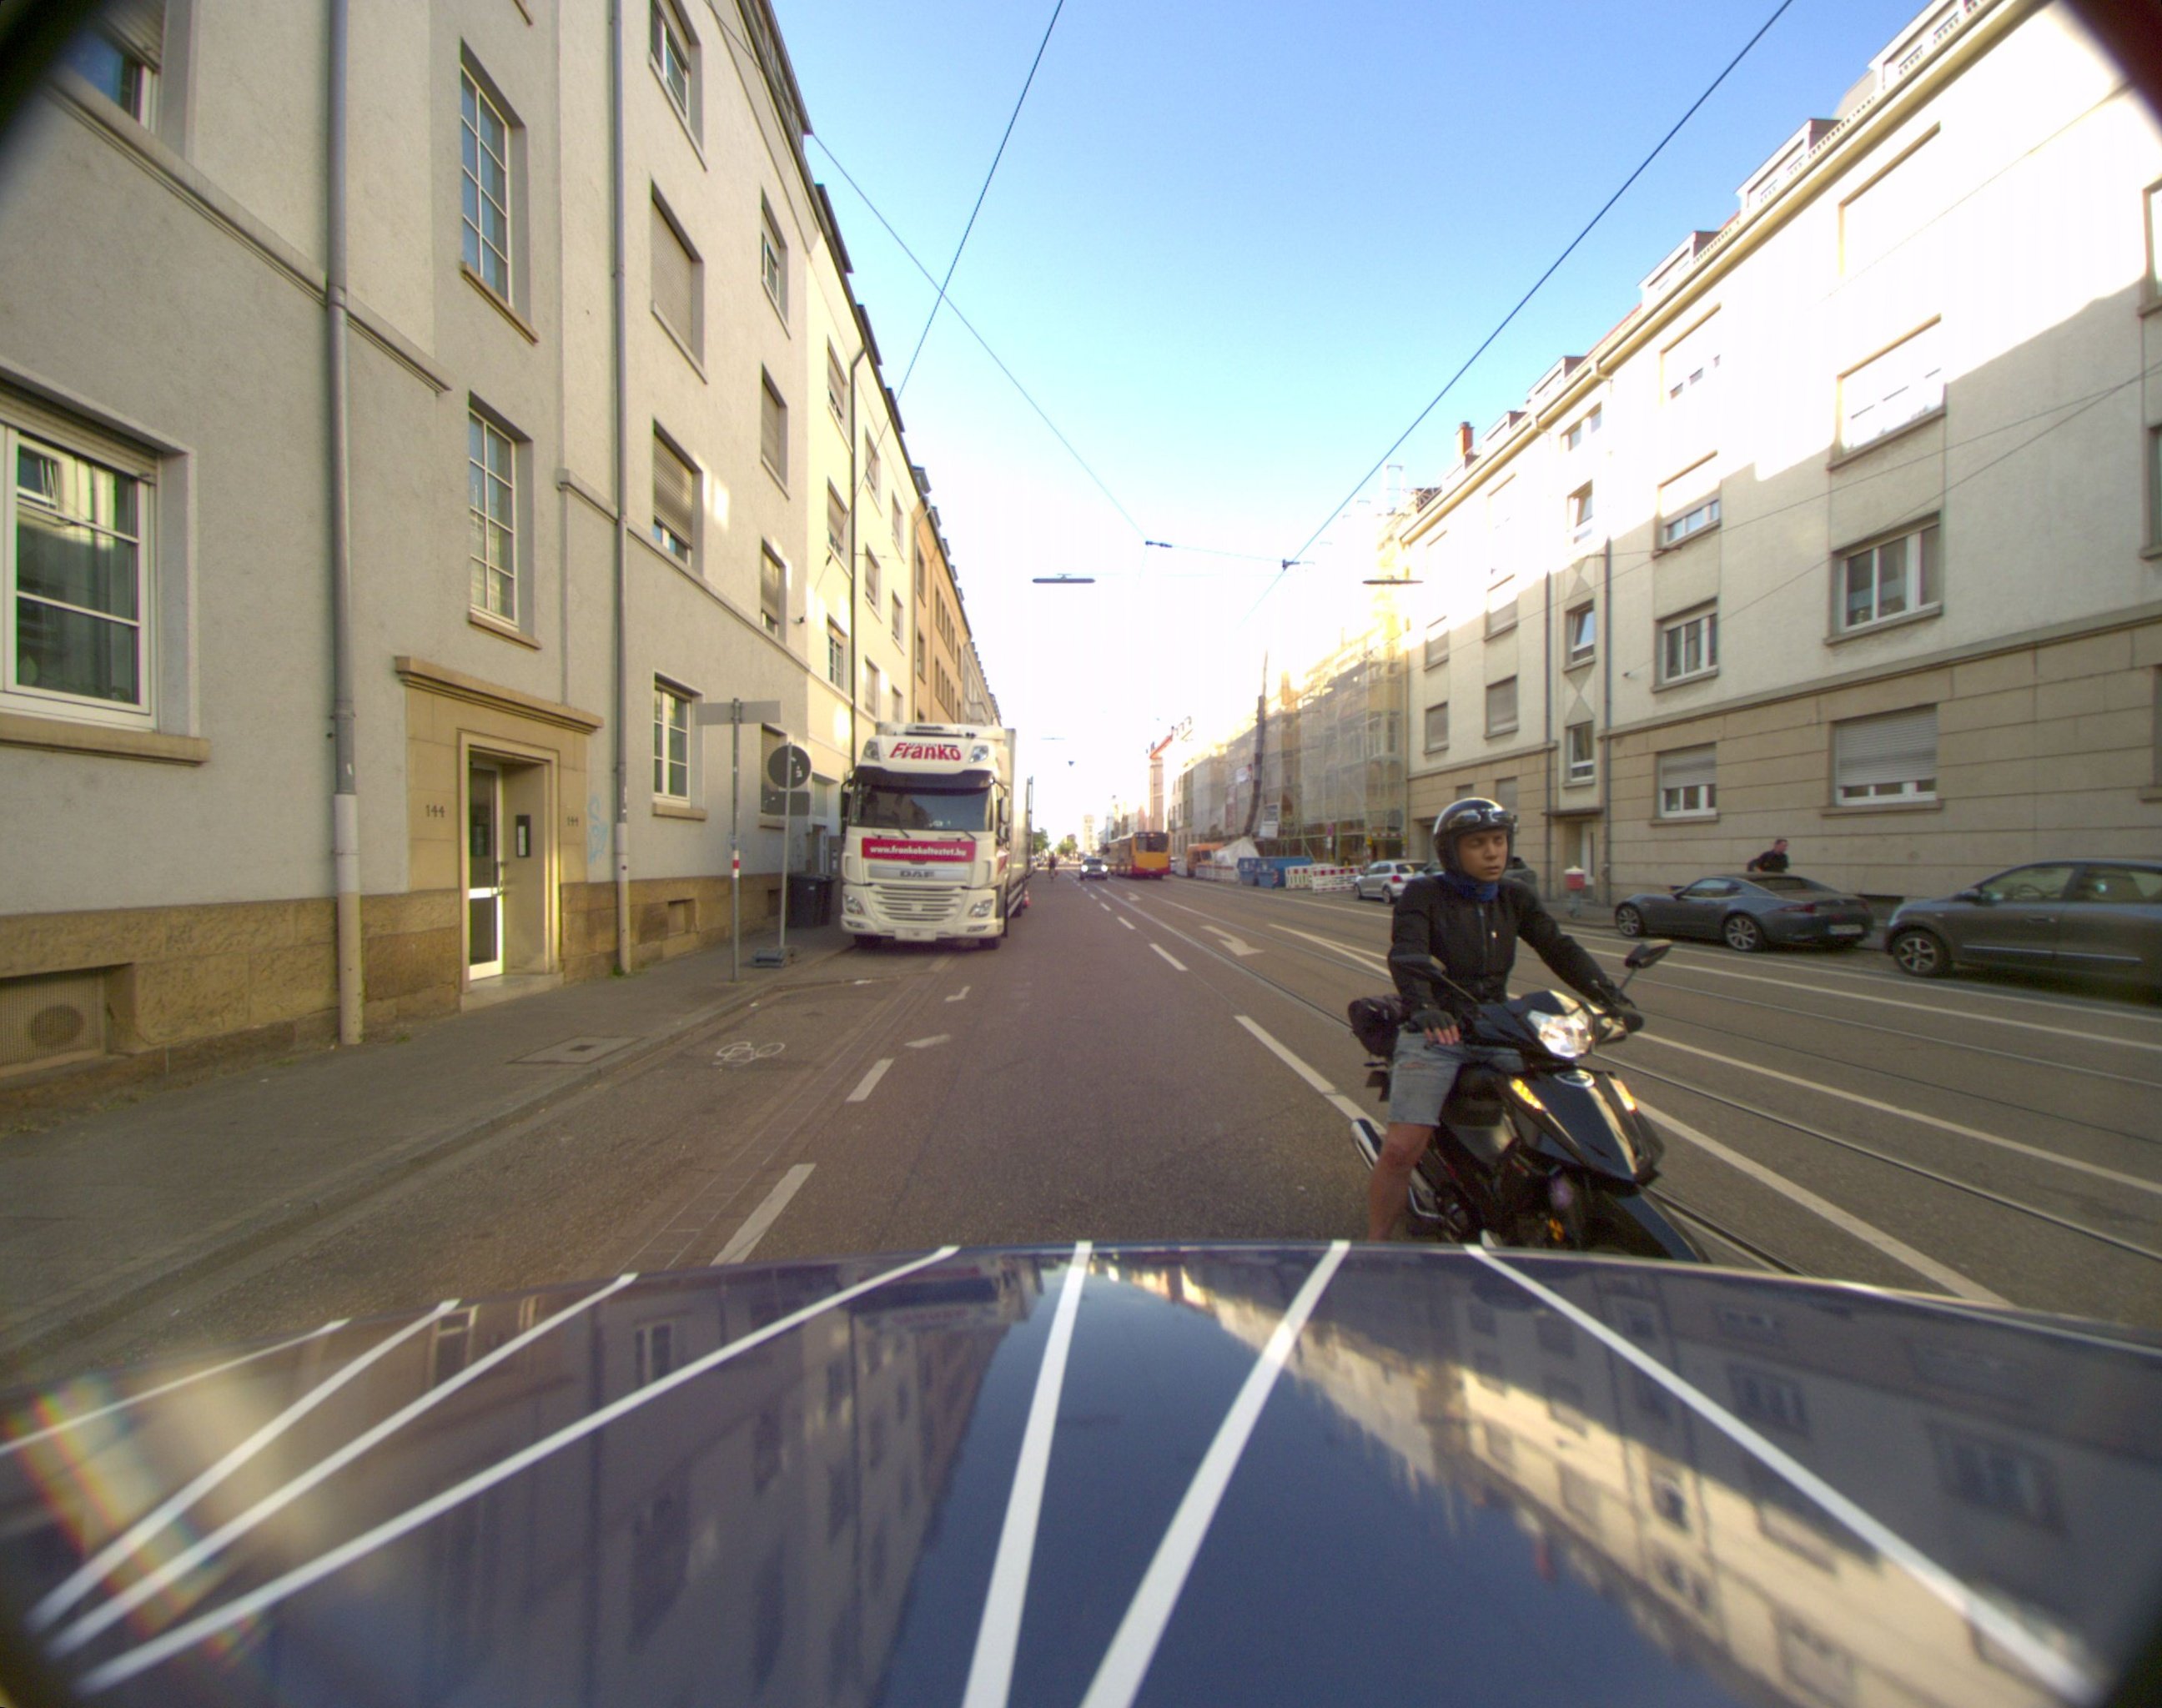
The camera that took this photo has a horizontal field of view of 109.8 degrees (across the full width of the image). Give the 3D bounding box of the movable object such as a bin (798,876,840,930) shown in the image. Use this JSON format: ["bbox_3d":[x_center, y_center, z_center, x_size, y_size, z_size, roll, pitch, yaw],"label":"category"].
[{"bbox_3d":[-5.405,1.002,15.704,0.666,1.087,0.570,0,1,-2],"label":"movable object such as a bin"}]

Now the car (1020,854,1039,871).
[{"bbox_3d":[-4.864,0.764,72.093,1.685,1.522,4.148,-2,0,-3],"label":"car"}]

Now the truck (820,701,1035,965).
[{"bbox_3d":[-2.631,-0.315,17.176,2.782,3.903,11.816,0,0,-2],"label":"truck"}]

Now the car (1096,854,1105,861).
[{"bbox_3d":[4.247,0.657,167.808,1.684,1.478,3.965,-2,0,-1],"label":"car"}]

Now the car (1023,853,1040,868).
[{"bbox_3d":[-5.358,0.667,82.739,1.685,1.522,4.148,-2,0,-3],"label":"car"}]

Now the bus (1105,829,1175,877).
[{"bbox_3d":[4.051,-0.066,57.881,2.755,3.095,19.156,0,0,-3],"label":"bus"}]

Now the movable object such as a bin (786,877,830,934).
[{"bbox_3d":[-5.388,1.011,15.035,0.666,1.087,0.570,0,1,-2],"label":"movable object such as a bin"}]

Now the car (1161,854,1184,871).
[{"bbox_3d":[8.564,0.782,71.108,1.684,1.478,3.966,-2,0,1],"label":"car"}]

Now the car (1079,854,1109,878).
[{"bbox_3d":[0.825,0.775,49.871,1.685,1.454,4.148,-2,0,-3],"label":"car"}]

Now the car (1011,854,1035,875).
[{"bbox_3d":[-4.518,0.760,59.153,1.685,1.522,4.148,-2,0,-3],"label":"car"}]

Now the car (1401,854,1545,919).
[{"bbox_3d":[10.805,0.817,21.327,1.696,1.590,4.206,-1,0,-3],"label":"car"}]

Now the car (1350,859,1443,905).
[{"bbox_3d":[10.604,0.894,25.775,1.543,1.404,3.510,-1,0,-3],"label":"car"}]

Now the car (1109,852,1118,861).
[{"bbox_3d":[5.948,0.479,139.340,1.684,1.478,3.966,-2,0,1],"label":"car"}]

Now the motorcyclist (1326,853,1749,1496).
[{"bbox_3d":[1.304,0.821,2.386,0.791,1.645,0.900,0,1,1],"label":"motorcyclist"}]

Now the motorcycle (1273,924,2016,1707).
[{"bbox_3d":[1.304,0.977,2.515,0.791,1.284,2.273,0,0,1],"label":"motorcycle"}]

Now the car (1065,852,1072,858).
[{"bbox_3d":[-3.775,0.410,235.693,1.999,1.838,3.998,0,0,-4],"label":"car"}]

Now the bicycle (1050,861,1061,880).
[{"bbox_3d":[-1.543,1.002,46.123,0.618,1.097,1.885,0,0,-4],"label":"bicycle"}]

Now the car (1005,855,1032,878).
[{"bbox_3d":[-4.309,0.841,52.985,1.685,1.522,4.148,-2,0,-3],"label":"car"}]

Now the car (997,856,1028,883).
[{"bbox_3d":[-4.182,0.908,47.182,1.685,1.522,4.148,-2,0,-3],"label":"car"}]

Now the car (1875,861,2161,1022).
[{"bbox_3d":[11.412,0.869,8.315,1.679,1.519,3.539,-1,0,-3],"label":"car"}]

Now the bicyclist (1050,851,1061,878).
[{"bbox_3d":[-1.542,0.605,46.136,0.618,1.620,0.759,0,1,-4],"label":"bicyclist"}]

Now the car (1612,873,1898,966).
[{"bbox_3d":[11.175,1.011,12.977,1.520,1.227,3.685,-1,0,-3],"label":"car"}]

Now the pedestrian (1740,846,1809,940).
[{"bbox_3d":[12.877,0.710,14.120,0.605,1.699,0.730,0,1,-2],"label":"pedestrian"}]
